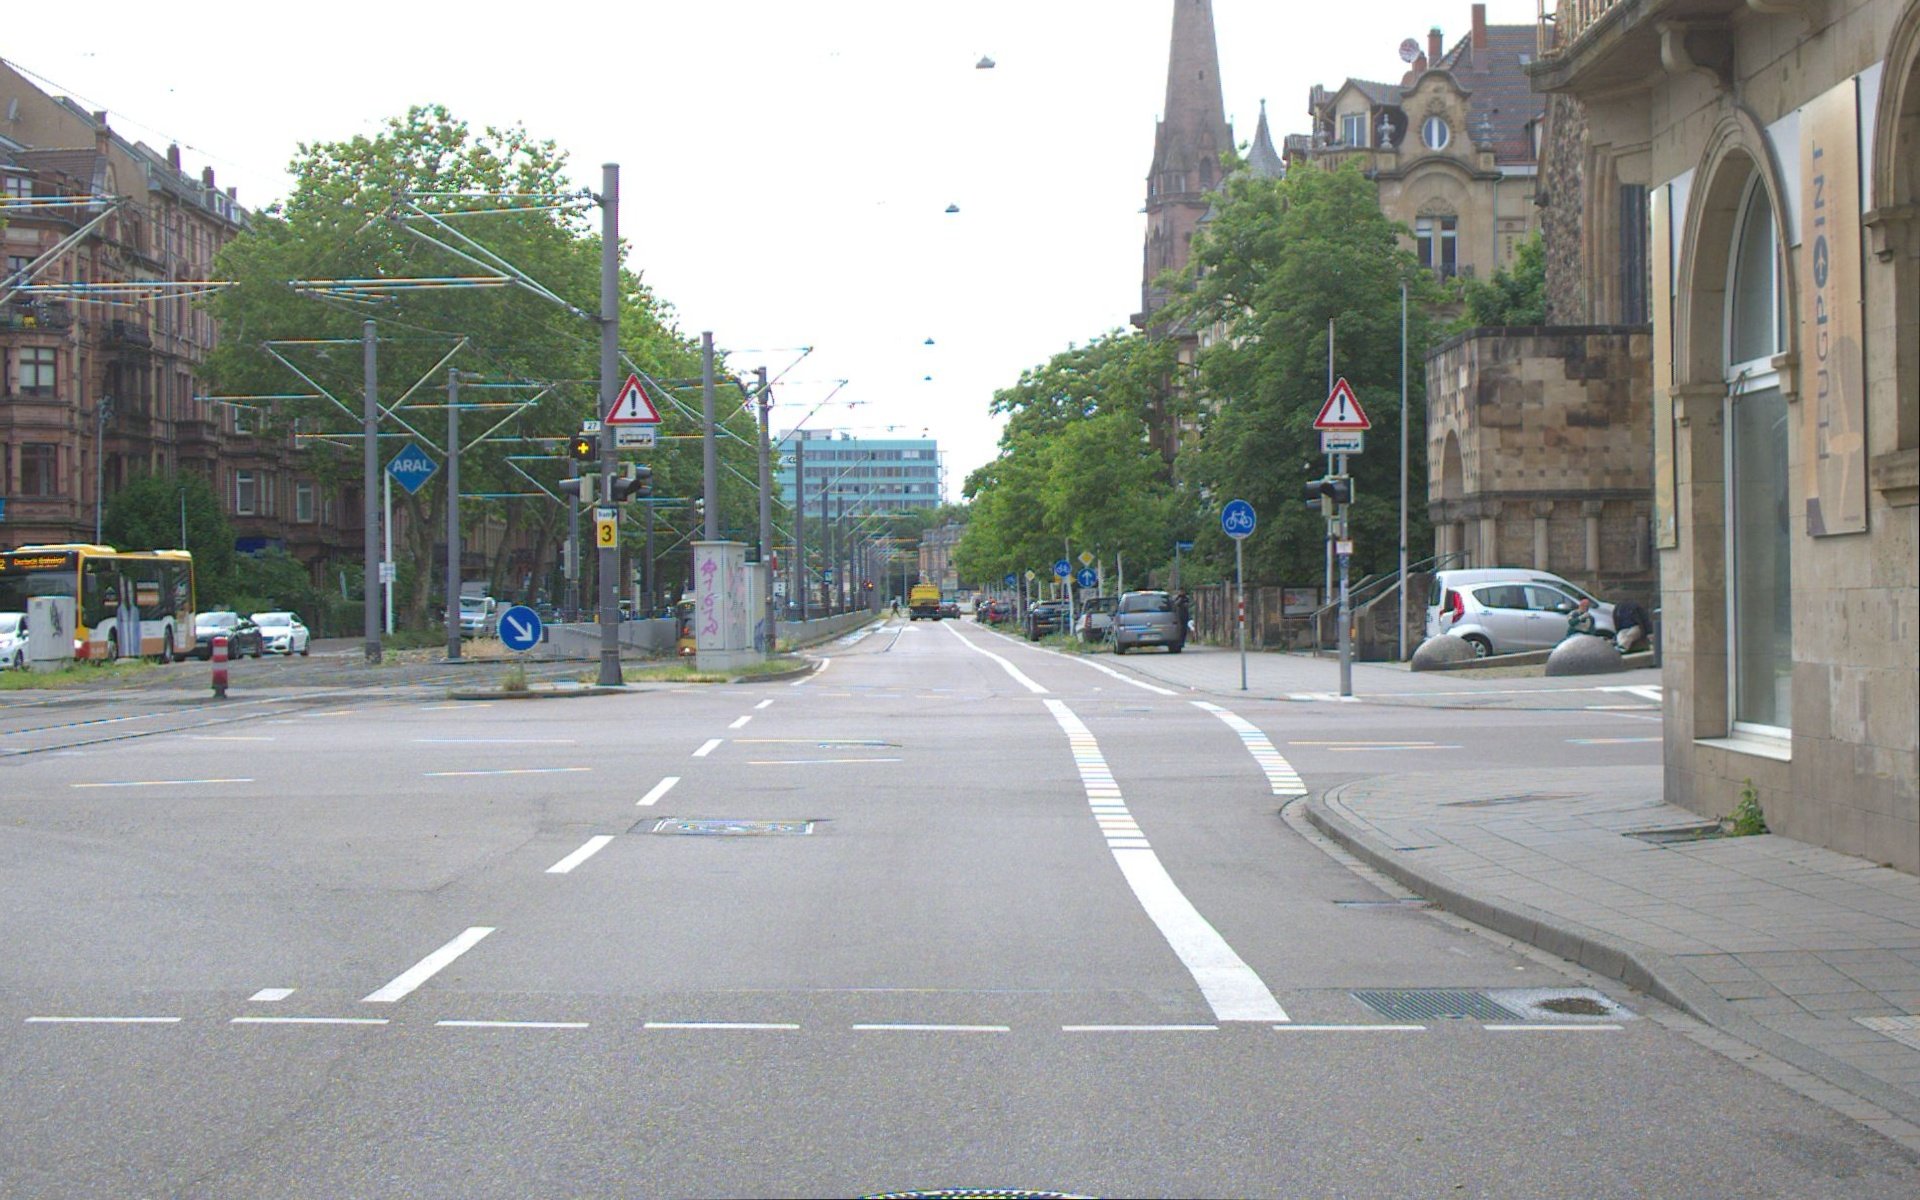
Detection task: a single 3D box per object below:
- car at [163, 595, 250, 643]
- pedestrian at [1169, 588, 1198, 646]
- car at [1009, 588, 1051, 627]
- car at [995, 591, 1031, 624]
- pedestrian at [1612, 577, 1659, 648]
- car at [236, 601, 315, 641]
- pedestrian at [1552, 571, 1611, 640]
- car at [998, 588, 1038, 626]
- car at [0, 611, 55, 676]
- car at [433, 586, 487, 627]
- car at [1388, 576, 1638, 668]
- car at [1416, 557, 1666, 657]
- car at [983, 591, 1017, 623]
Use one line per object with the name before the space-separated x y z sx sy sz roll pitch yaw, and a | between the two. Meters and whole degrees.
car | -22.277 0.550 101.770 1.702 1.354 3.890 1 0 0
pedestrian | 6.369 0.478 97.789 0.776 1.642 0.798 1 0 6
car | 3.489 0.365 171.859 1.993 1.875 4.000 0 0 -1
car | 3.250 0.458 210.035 1.993 1.919 4.000 1 0 -2
pedestrian | 12.011 0.220 61.127 0.737 1.224 1.062 1 0 14
car | -21.670 0.647 109.006 1.702 1.217 3.890 1 0 0
pedestrian | 10.895 0.097 60.325 0.736 1.187 1.493 1 0 0
car | 3.190 0.378 190.189 1.993 2.007 4.000 1 0 -2
car | -22.028 0.974 78.459 1.702 1.393 3.890 1 0 0
car | -21.623 0.264 148.766 1.702 1.706 3.890 1 0 0
car | 10.289 0.400 64.152 4.348 1.630 1.663 1 0 -1
car | 11.407 0.135 67.677 4.610 1.875 1.663 1 0 -1
car | 2.523 0.446 217.595 1.993 2.007 4.000 1 0 -2
